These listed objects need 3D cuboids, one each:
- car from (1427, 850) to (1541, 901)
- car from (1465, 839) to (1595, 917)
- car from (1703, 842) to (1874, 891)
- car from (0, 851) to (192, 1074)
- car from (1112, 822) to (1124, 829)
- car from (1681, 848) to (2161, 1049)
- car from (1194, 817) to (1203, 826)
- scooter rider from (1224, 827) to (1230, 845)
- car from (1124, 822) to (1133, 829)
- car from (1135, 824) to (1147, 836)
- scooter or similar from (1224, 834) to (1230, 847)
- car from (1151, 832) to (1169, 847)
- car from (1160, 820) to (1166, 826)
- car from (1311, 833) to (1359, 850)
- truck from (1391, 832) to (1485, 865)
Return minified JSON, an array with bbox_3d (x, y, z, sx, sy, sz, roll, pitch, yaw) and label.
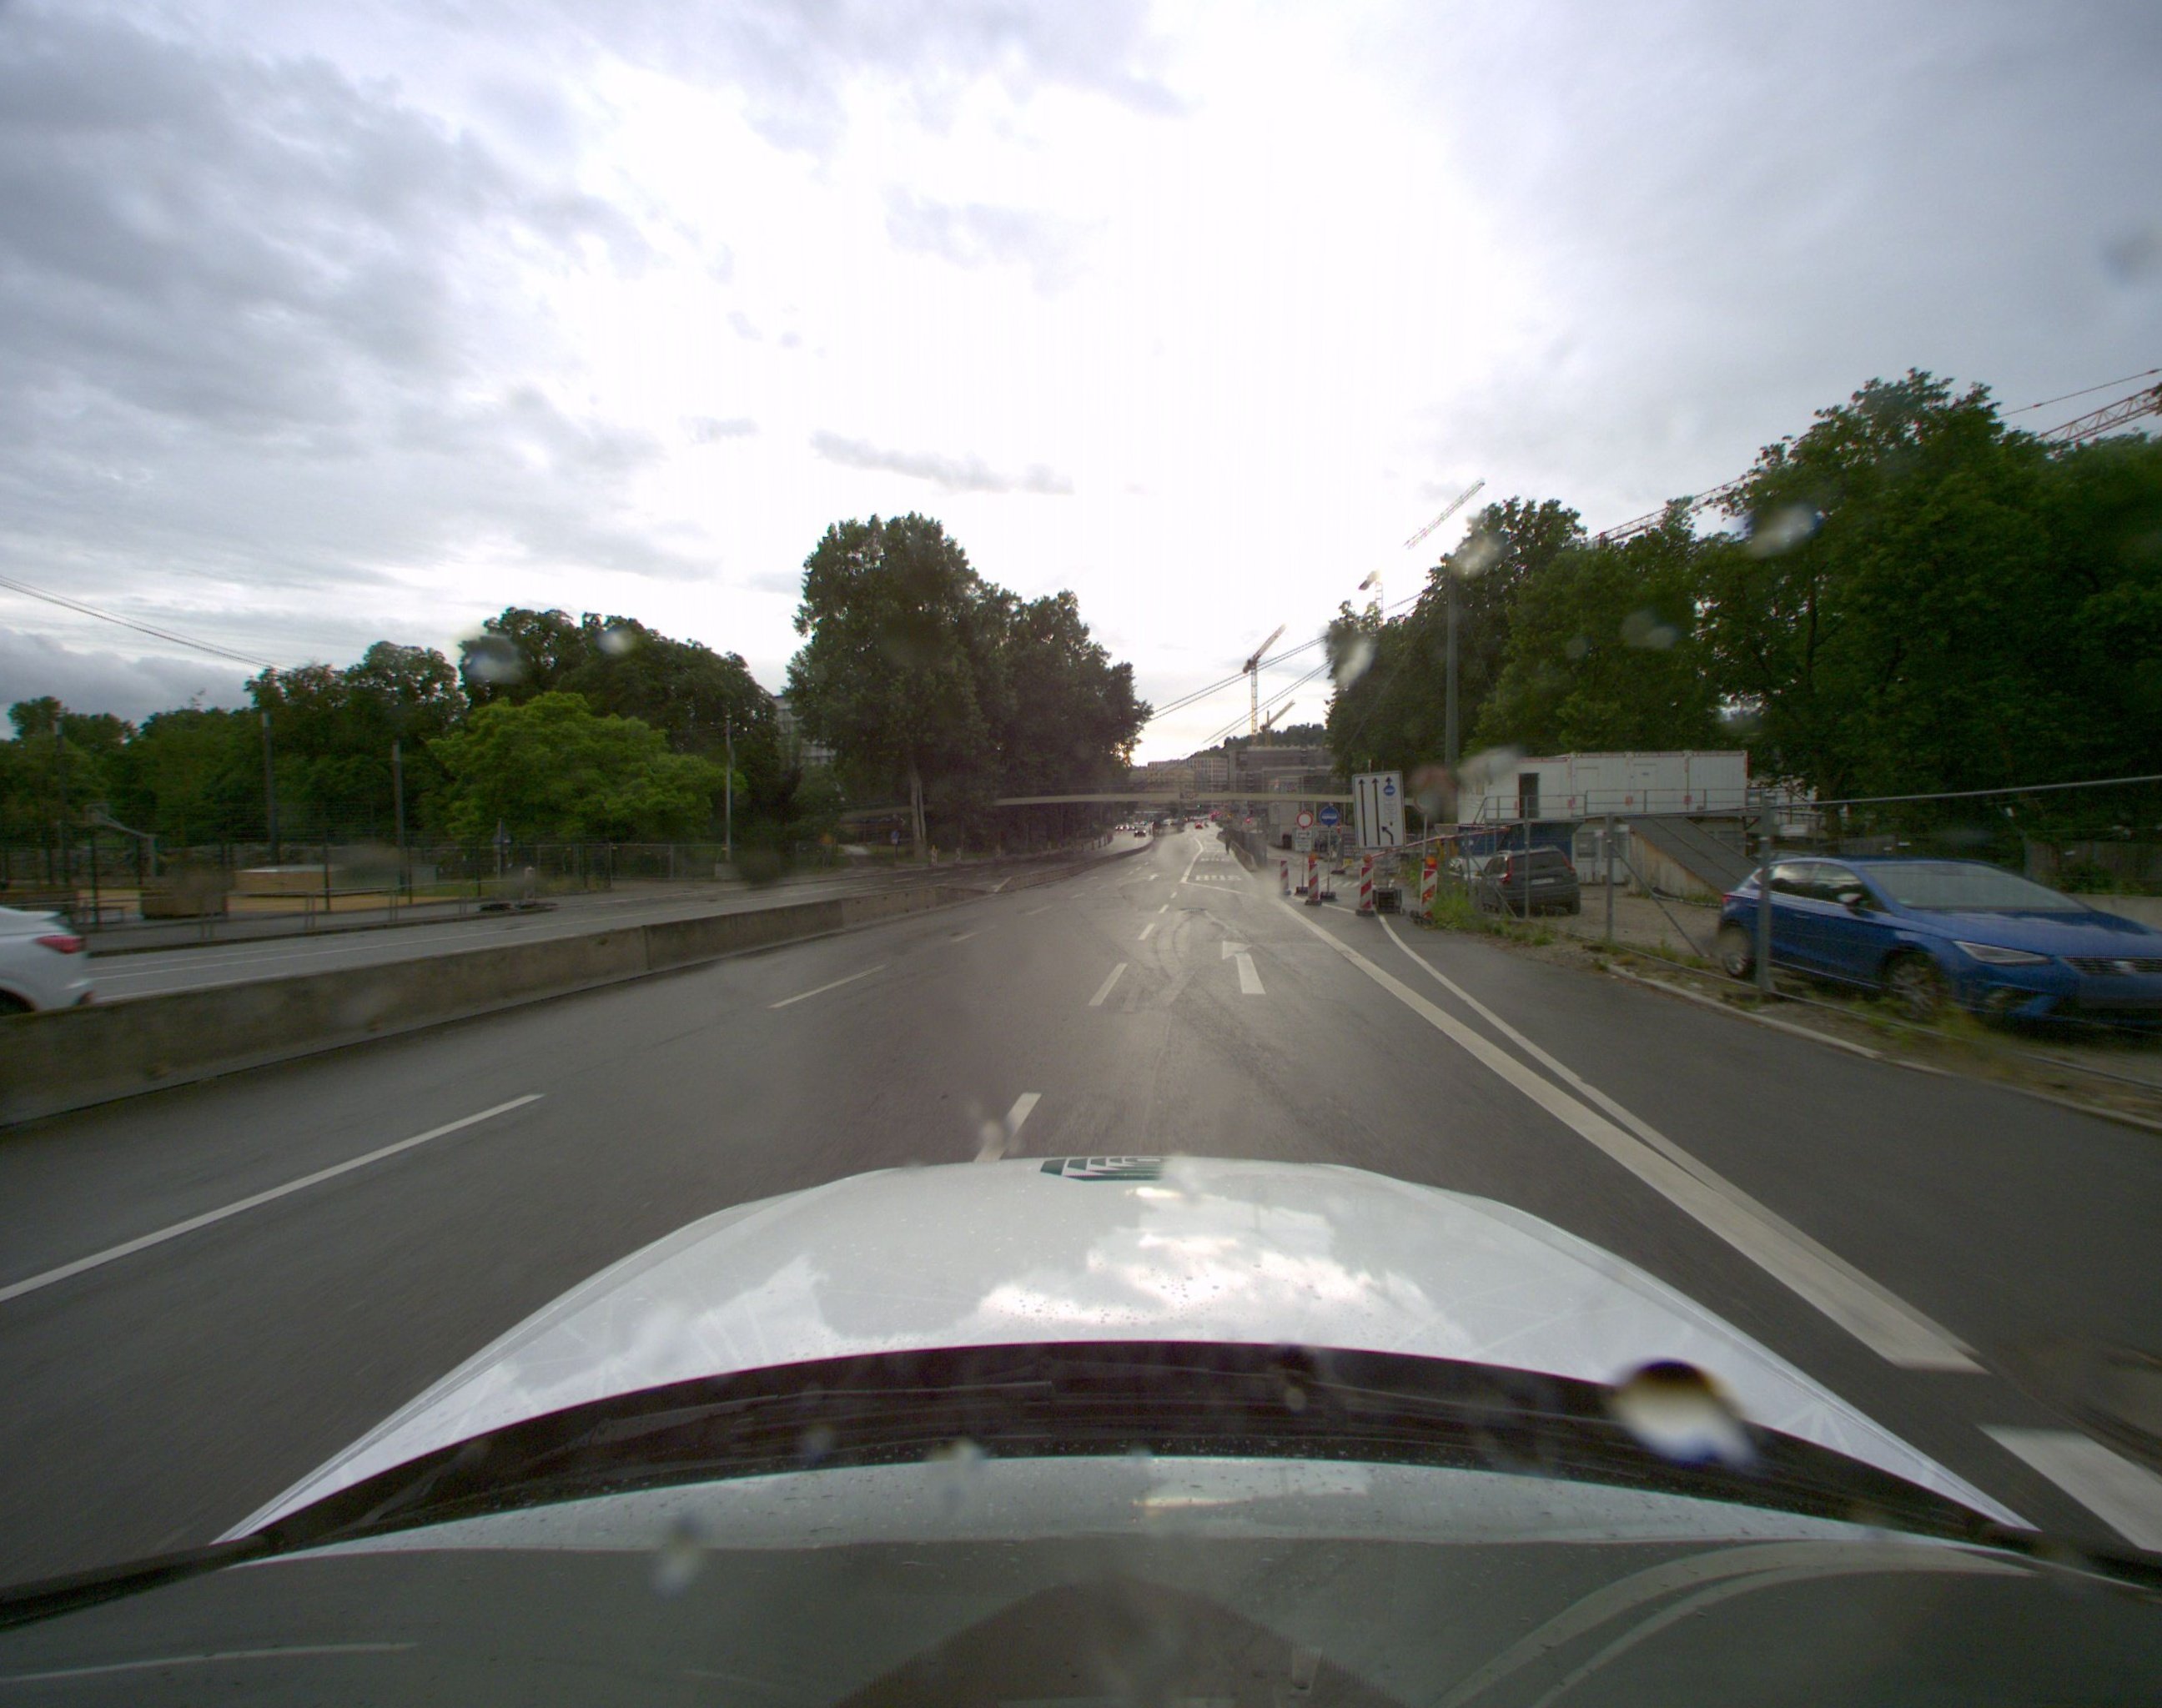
[{"bbox_3d":[13.251,0.733,27.088,1.844,1.485,4.001,-2,-2,2],"label":"car"},{"bbox_3d":[11.488,0.530,21.198,1.907,1.649,4.432,-6,-1,16],"label":"car"},{"bbox_3d":[20.761,0.328,24.140,1.705,1.306,4.002,0,0,2],"label":"car"},{"bbox_3d":[-8.739,0.815,4.507,1.883,1.567,4.908,-2,0,7],"label":"car"},{"bbox_3d":[9.242,-7.185,203.650,2.031,1.653,4.305,-2,3,-10],"label":"car"},{"bbox_3d":[8.193,0.681,8.175,1.820,1.441,4.428,1,1,12],"label":"car"},{"bbox_3d":[28.874,-7.918,200.060,1.981,2.013,4.011,-2,0,9],"label":"car"},{"bbox_3d":[14.587,-1.776,81.367,0.593,1.785,1.000,0,2,10],"label":"scooter rider"},{"bbox_3d":[11.924,-7.166,203.273,1.708,1.338,4.058,-9,1,-3],"label":"car"},{"bbox_3d":[11.070,-4.466,151.146,2.022,1.936,5.048,-2,0,3],"label":"car"},{"bbox_3d":[14.606,-1.361,81.375,0.593,1.319,1.673,0,2,10],"label":"scooter or similar"},{"bbox_3d":[9.000,-1.644,92.968,1.892,1.528,4.184,-2,0,6],"label":"car"},{"bbox_3d":[24.384,-9.288,241.857,1.892,1.528,4.184,-2,0,6],"label":"car"},{"bbox_3d":[26.599,-1.303,85.351,4.519,1.628,1.791,-1,3,6],"label":"car"},{"bbox_3d":[23.427,-0.356,53.592,5.134,2.013,2.410,-1,0,1],"label":"truck"}]
